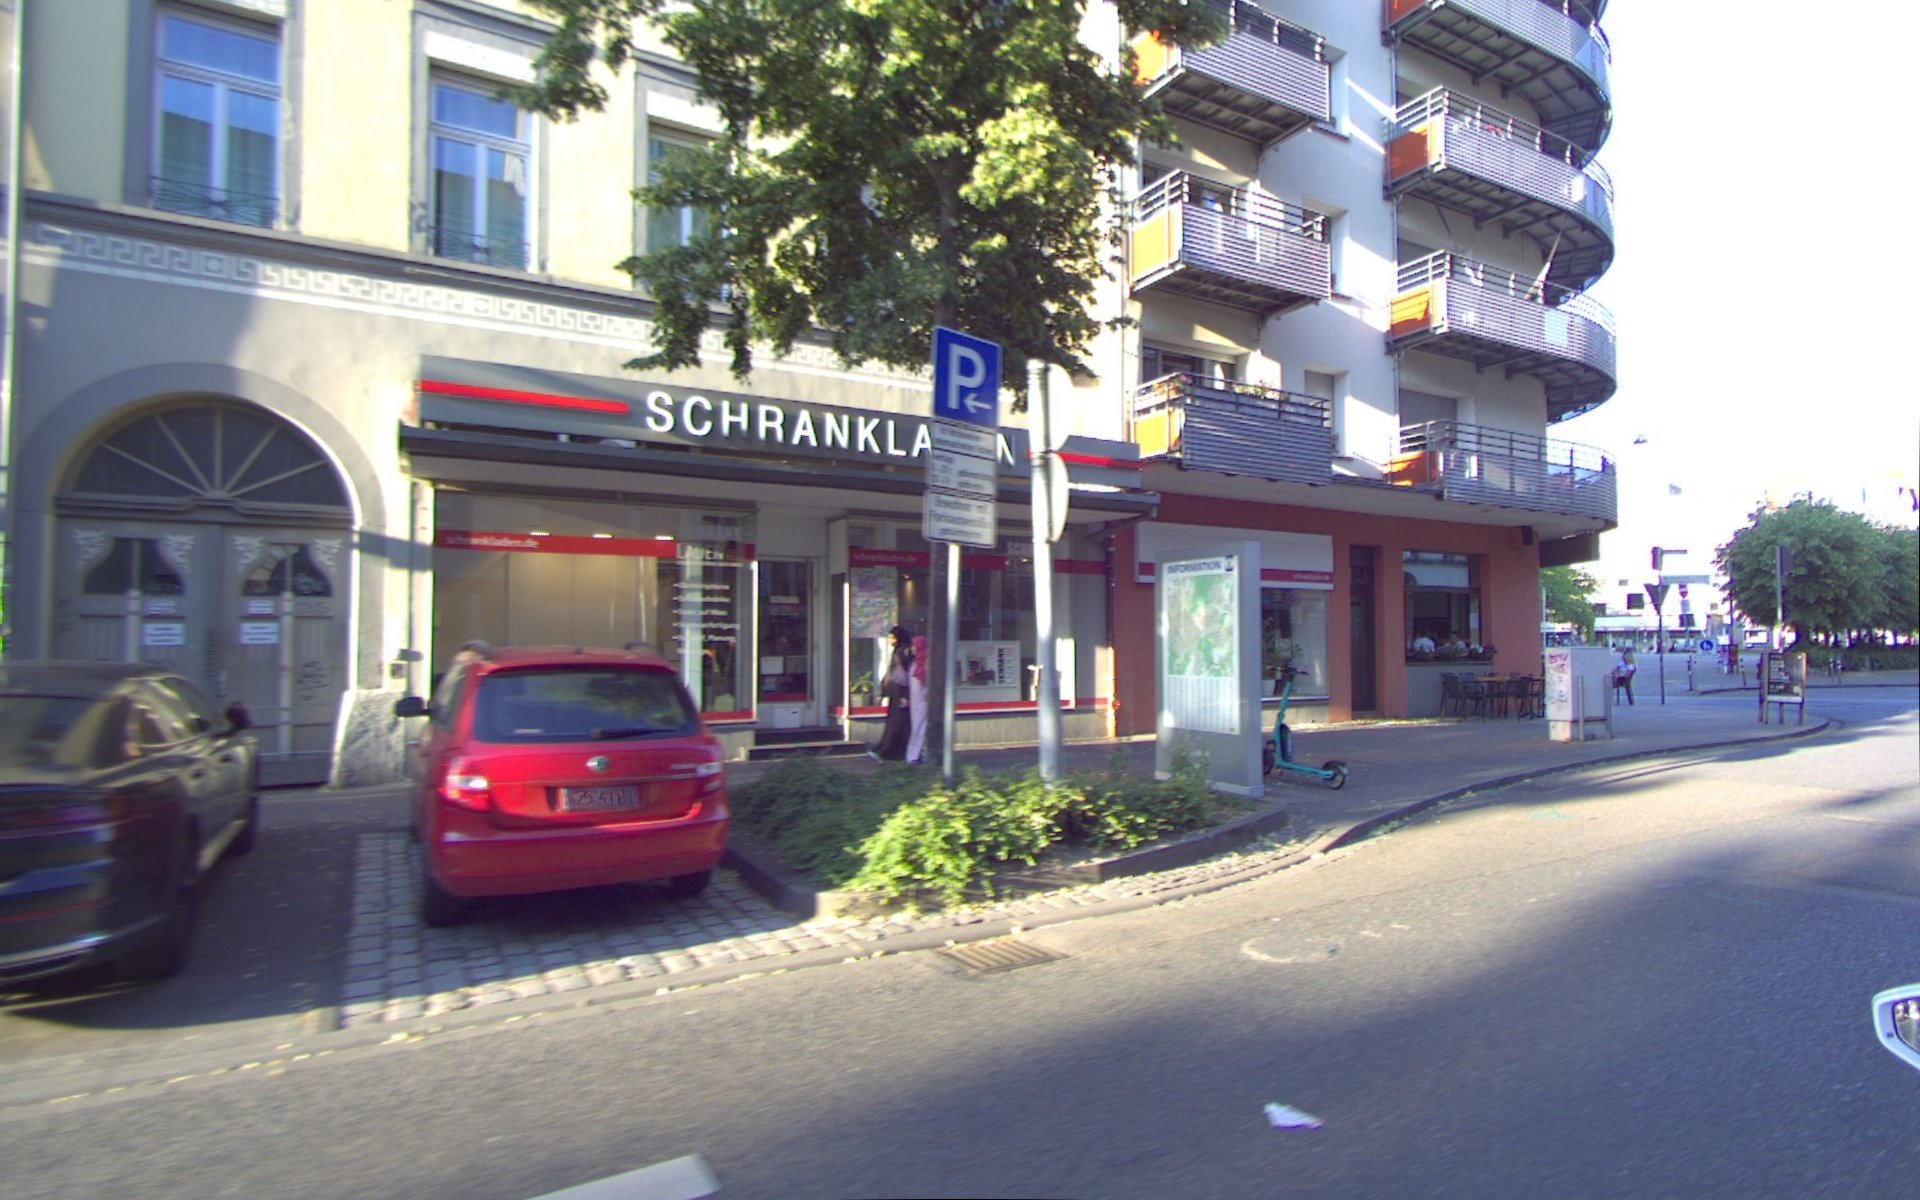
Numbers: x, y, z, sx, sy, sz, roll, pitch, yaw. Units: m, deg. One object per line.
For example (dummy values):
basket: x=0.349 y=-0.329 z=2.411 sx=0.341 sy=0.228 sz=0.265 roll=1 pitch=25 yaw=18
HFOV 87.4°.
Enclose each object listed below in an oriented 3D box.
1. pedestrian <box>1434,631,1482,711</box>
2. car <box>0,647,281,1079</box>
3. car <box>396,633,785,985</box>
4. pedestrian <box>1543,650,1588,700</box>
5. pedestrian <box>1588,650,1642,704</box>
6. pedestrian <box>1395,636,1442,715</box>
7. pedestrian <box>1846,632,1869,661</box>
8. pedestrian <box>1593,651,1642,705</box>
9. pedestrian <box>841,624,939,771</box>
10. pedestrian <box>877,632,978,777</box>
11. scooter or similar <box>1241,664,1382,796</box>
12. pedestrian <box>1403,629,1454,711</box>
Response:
pedestrian: x=10.219 y=1.453 z=20.624 sx=0.693 sy=1.615 sz=0.594 roll=3 pitch=-4 yaw=-28
car: x=-4.929 y=1.038 z=5.400 sx=1.800 sy=1.426 sz=4.548 roll=1 pitch=-1 yaw=-30
car: x=-2.760 y=1.035 z=6.870 sx=1.861 sy=1.557 sz=4.055 roll=1 pitch=-1 yaw=-29
pedestrian: x=15.429 y=1.904 z=25.599 sx=0.821 sy=1.263 sz=0.717 roll=3 pitch=-4 yaw=-36
pedestrian: x=15.897 y=1.856 z=24.370 sx=0.761 sy=1.258 sz=0.891 roll=3 pitch=-4 yaw=-38
pedestrian: x=9.593 y=1.573 z=21.016 sx=0.591 sy=1.615 sz=0.669 roll=3 pitch=-4 yaw=-29
pedestrian: x=50.583 y=2.608 z=56.605 sx=0.558 sy=1.616 sz=0.791 roll=0 pitch=-1 yaw=-10
pedestrian: x=16.333 y=1.927 z=24.949 sx=0.742 sy=1.289 sz=0.820 roll=3 pitch=-4 yaw=-38
pedestrian: x=-0.822 y=1.117 z=11.755 sx=0.865 sy=1.629 sz=0.768 roll=3 pitch=-2 yaw=-29
pedestrian: x=-0.375 y=1.158 z=11.367 sx=0.865 sy=1.548 sz=0.731 roll=3 pitch=-2 yaw=-29
scooter or similar: x=3.693 y=1.330 z=10.641 sx=0.520 sy=1.242 sz=1.390 roll=1 pitch=-1 yaw=-32
pedestrian: x=9.359 y=1.395 z=20.055 sx=0.741 sy=1.615 sz=0.594 roll=3 pitch=-4 yaw=-28
